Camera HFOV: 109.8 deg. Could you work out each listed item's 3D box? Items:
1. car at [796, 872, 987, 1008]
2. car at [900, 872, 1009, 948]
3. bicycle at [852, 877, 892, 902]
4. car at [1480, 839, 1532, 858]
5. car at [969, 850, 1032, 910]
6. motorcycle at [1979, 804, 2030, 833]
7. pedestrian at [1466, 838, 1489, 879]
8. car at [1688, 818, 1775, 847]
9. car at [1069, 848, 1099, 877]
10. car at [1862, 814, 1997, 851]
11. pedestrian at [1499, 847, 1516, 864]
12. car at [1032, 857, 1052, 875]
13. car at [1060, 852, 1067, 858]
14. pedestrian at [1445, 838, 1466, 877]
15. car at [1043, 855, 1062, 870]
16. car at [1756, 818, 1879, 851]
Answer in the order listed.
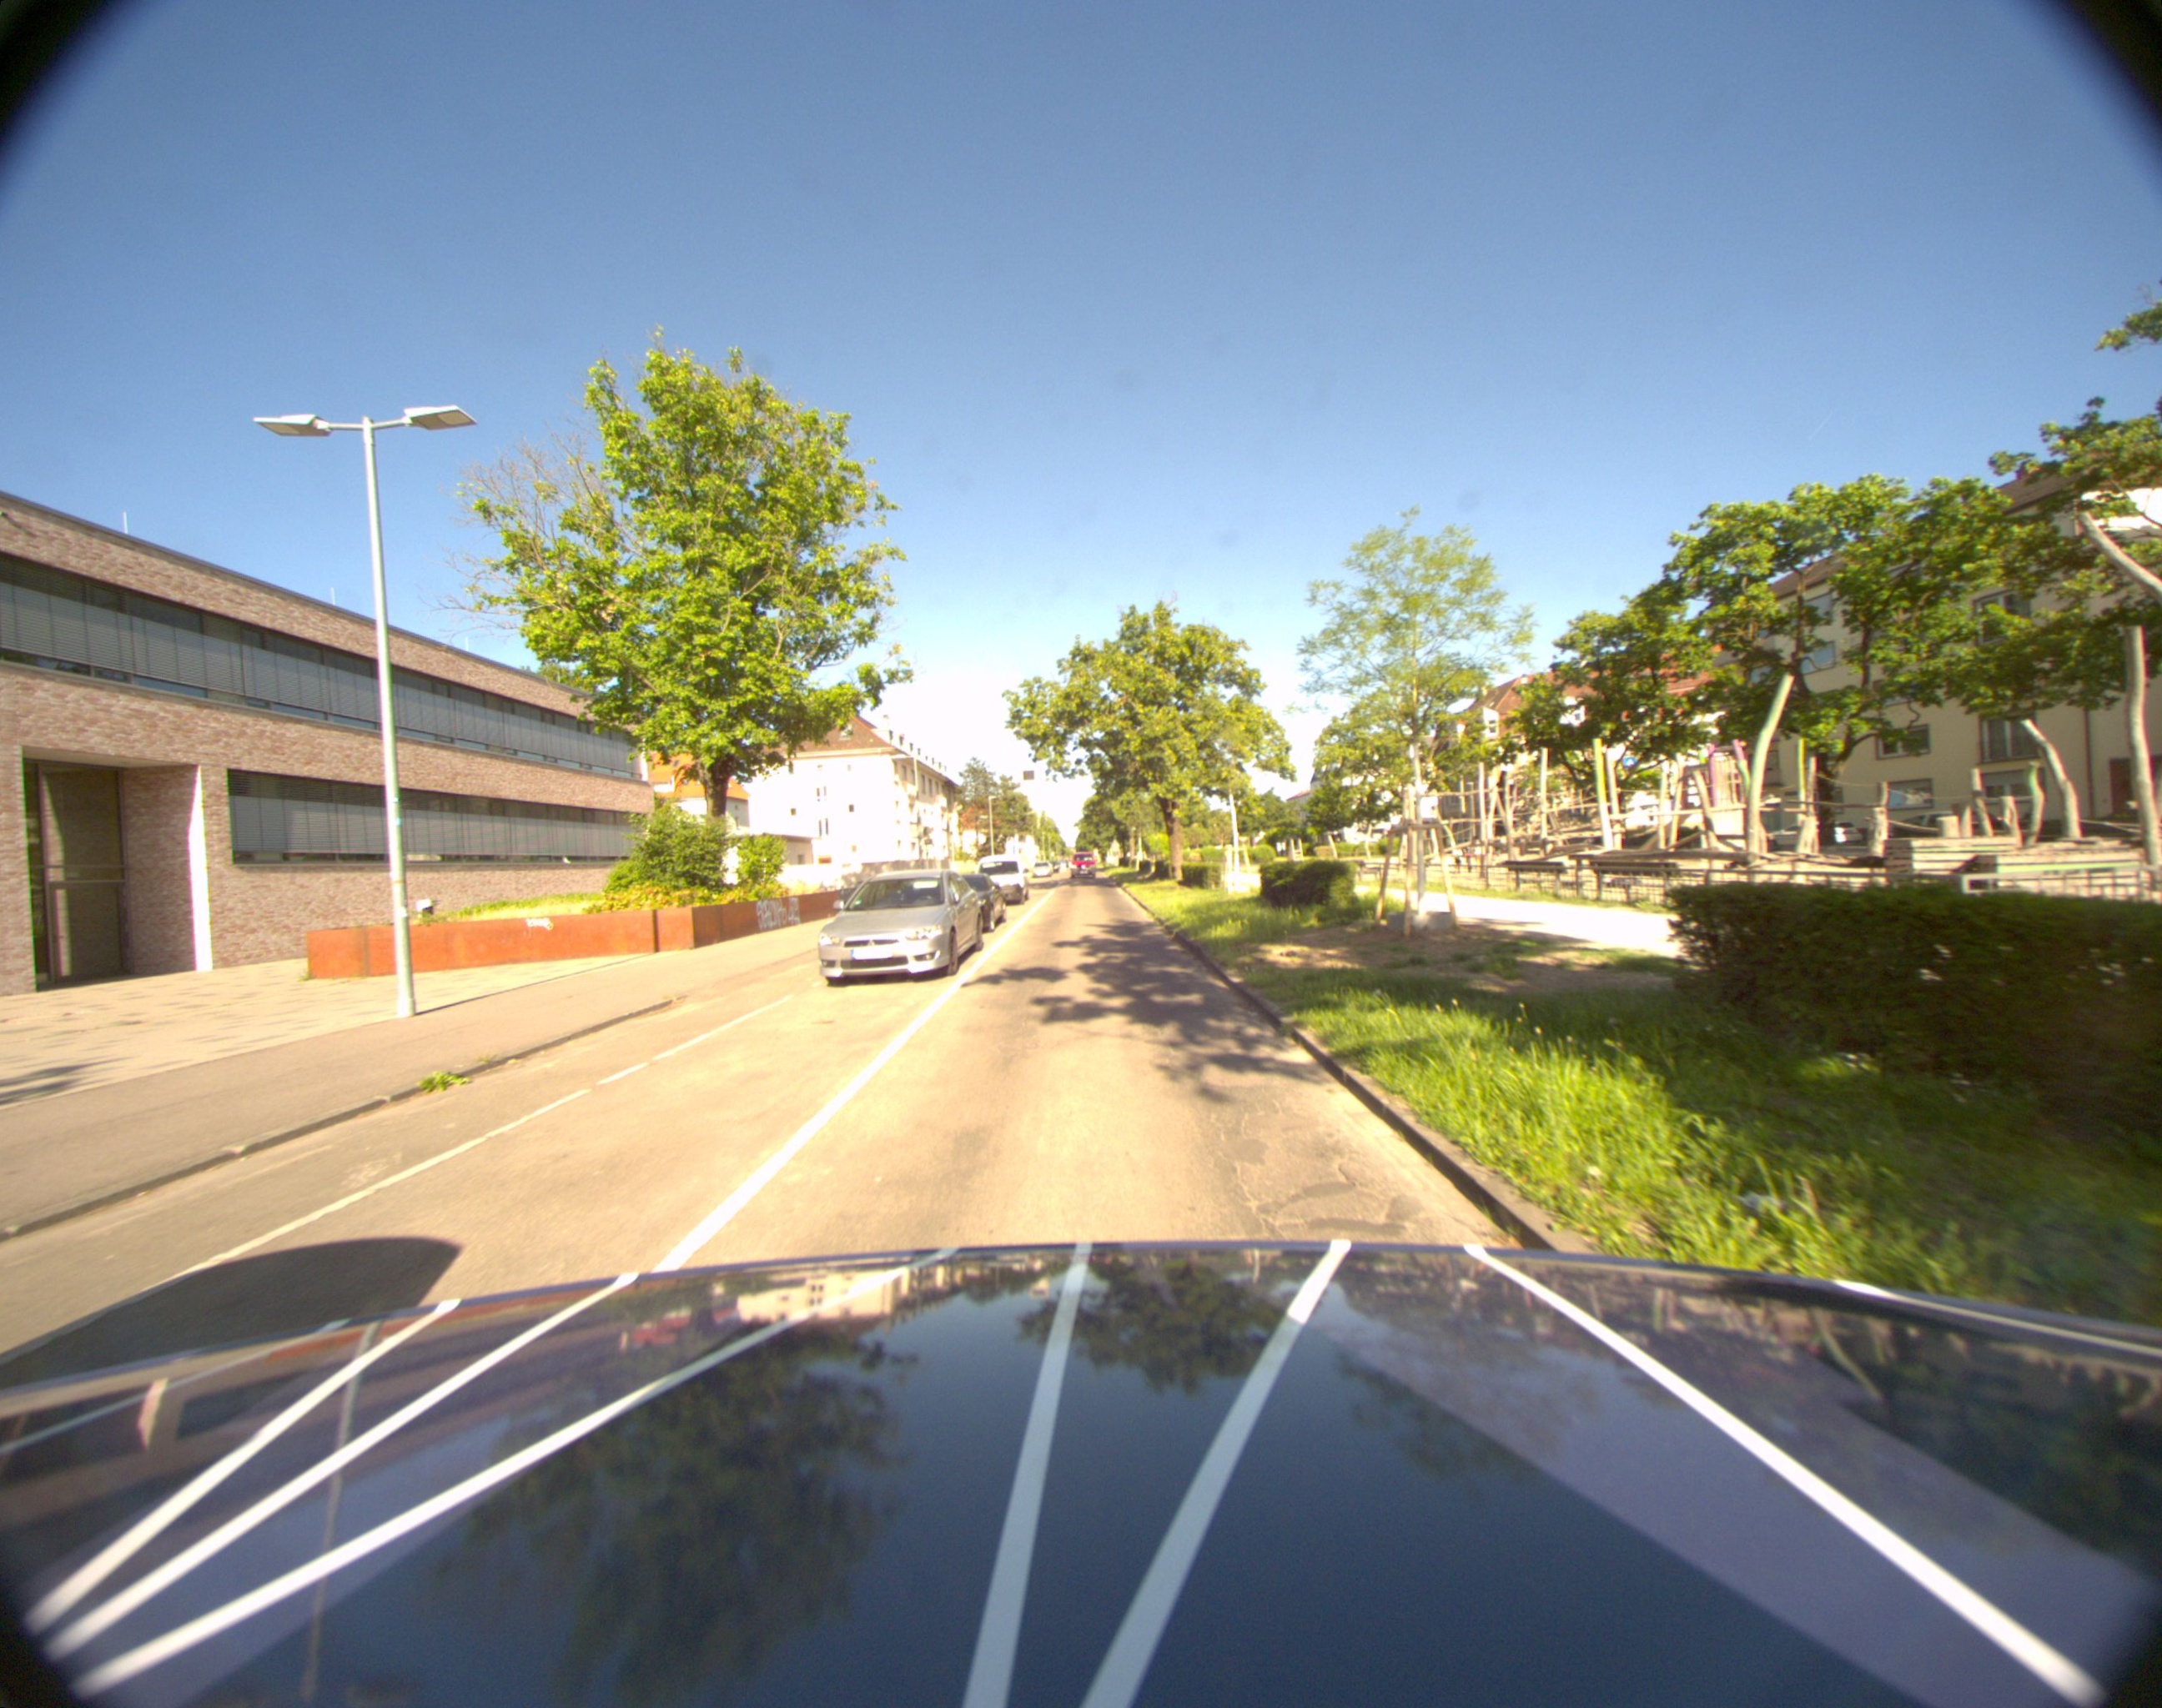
[{"bbox_3d":[-2.622,1.128,11.560,1.705,1.470,4.173,-4,0,1],"label":"car"},{"bbox_3d":[-2.748,1.190,17.425,1.706,1.317,4.129,-4,0,0],"label":"car"},{"bbox_3d":[-9.958,1.695,36.187,1.673,1.024,0.500,-5,0,-2],"label":"bicycle"},{"bbox_3d":[39.779,-0.491,71.084,3.989,1.501,1.803,-3,1,35],"label":"car"},{"bbox_3d":[-2.884,0.885,28.088,1.812,1.897,4.461,-4,0,-1],"label":"car"},{"bbox_3d":[39.449,-1.523,32.461,1.800,1.101,0.500,-4,1,-7],"label":"motorcycle"},{"bbox_3d":[16.545,0.176,31.715,0.649,1.651,0.651,-4,1,19],"label":"pedestrian"},{"bbox_3d":[39.530,-1.264,46.327,1.799,1.545,4.000,-4,0,0],"label":"car"},{"bbox_3d":[0.248,0.640,58.594,2.092,2.000,4.844,-3,0,0],"label":"car"},{"bbox_3d":[39.572,-0.960,35.584,1.799,1.501,4.000,-4,0,1],"label":"car"},{"bbox_3d":[24.437,0.085,43.523,0.542,0.973,0.778,-4,0,8],"label":"pedestrian"},{"bbox_3d":[-3.551,1.088,69.470,1.664,1.456,4.410,-5,0,-3],"label":"car"},{"bbox_3d":[-4.541,0.247,198.931,1.799,1.529,4.001,-4,-1,0],"label":"car"},{"bbox_3d":[16.397,0.162,33.266,0.649,1.651,0.651,-4,1,19],"label":"pedestrian"},{"bbox_3d":[-3.203,0.967,85.963,1.799,1.501,3.994,-5,0,0],"label":"car"},{"bbox_3d":[39.488,-0.988,40.919,1.911,1.501,4.764,-4,0,-1],"label":"car"}]
